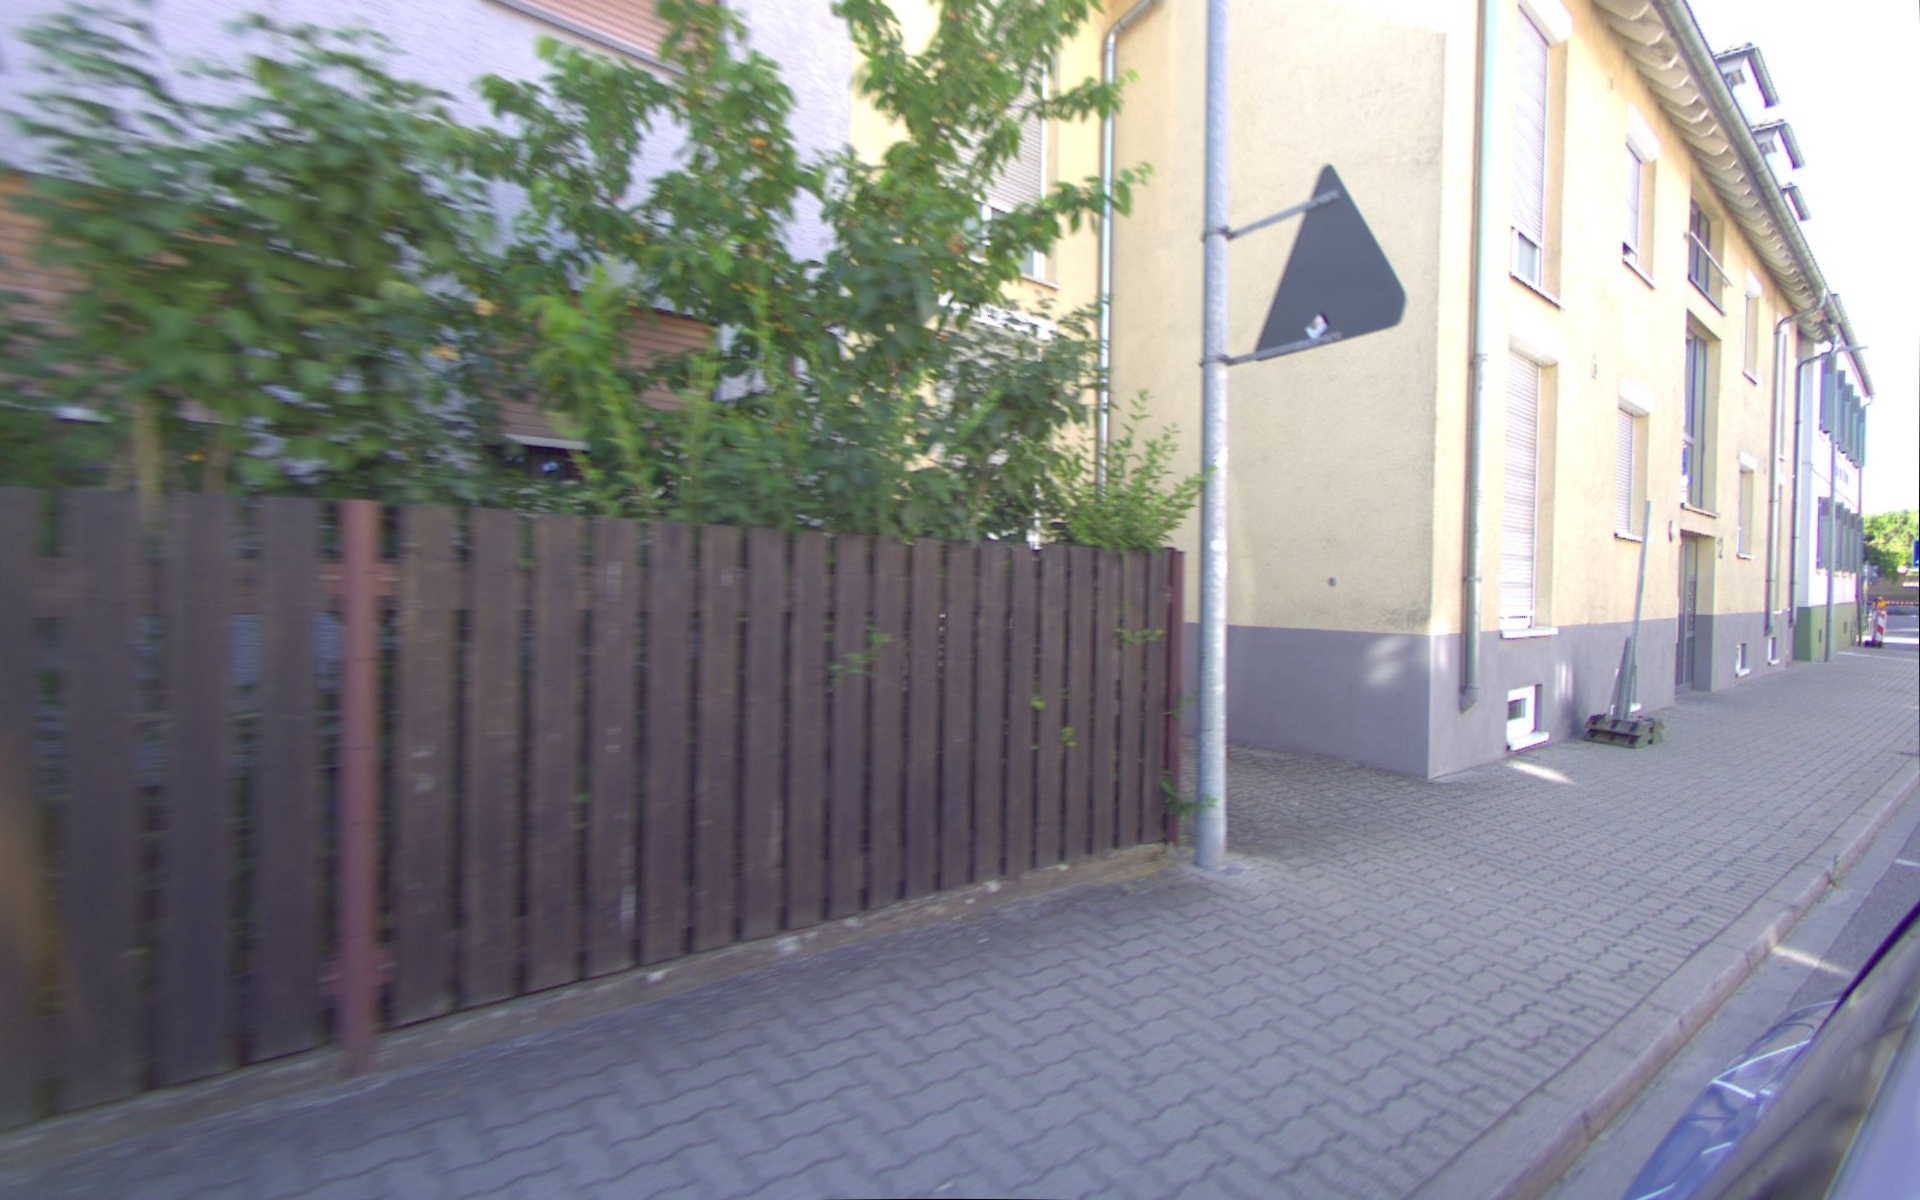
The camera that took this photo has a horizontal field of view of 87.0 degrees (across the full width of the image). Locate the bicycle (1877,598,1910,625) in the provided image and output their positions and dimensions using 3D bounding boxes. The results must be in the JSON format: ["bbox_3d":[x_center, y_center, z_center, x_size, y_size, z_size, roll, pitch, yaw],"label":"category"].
[{"bbox_3d":[57.269,0.699,62.142,1.252,1.571,3.943,-2,0,40],"label":"bicycle"}]

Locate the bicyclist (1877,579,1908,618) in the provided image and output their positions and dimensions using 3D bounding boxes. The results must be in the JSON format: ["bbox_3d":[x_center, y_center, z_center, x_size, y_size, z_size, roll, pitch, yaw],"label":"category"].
[{"bbox_3d":[57.306,-0.103,62.222,1.251,2.337,1.225,-2,-1,39],"label":"bicyclist"}]
